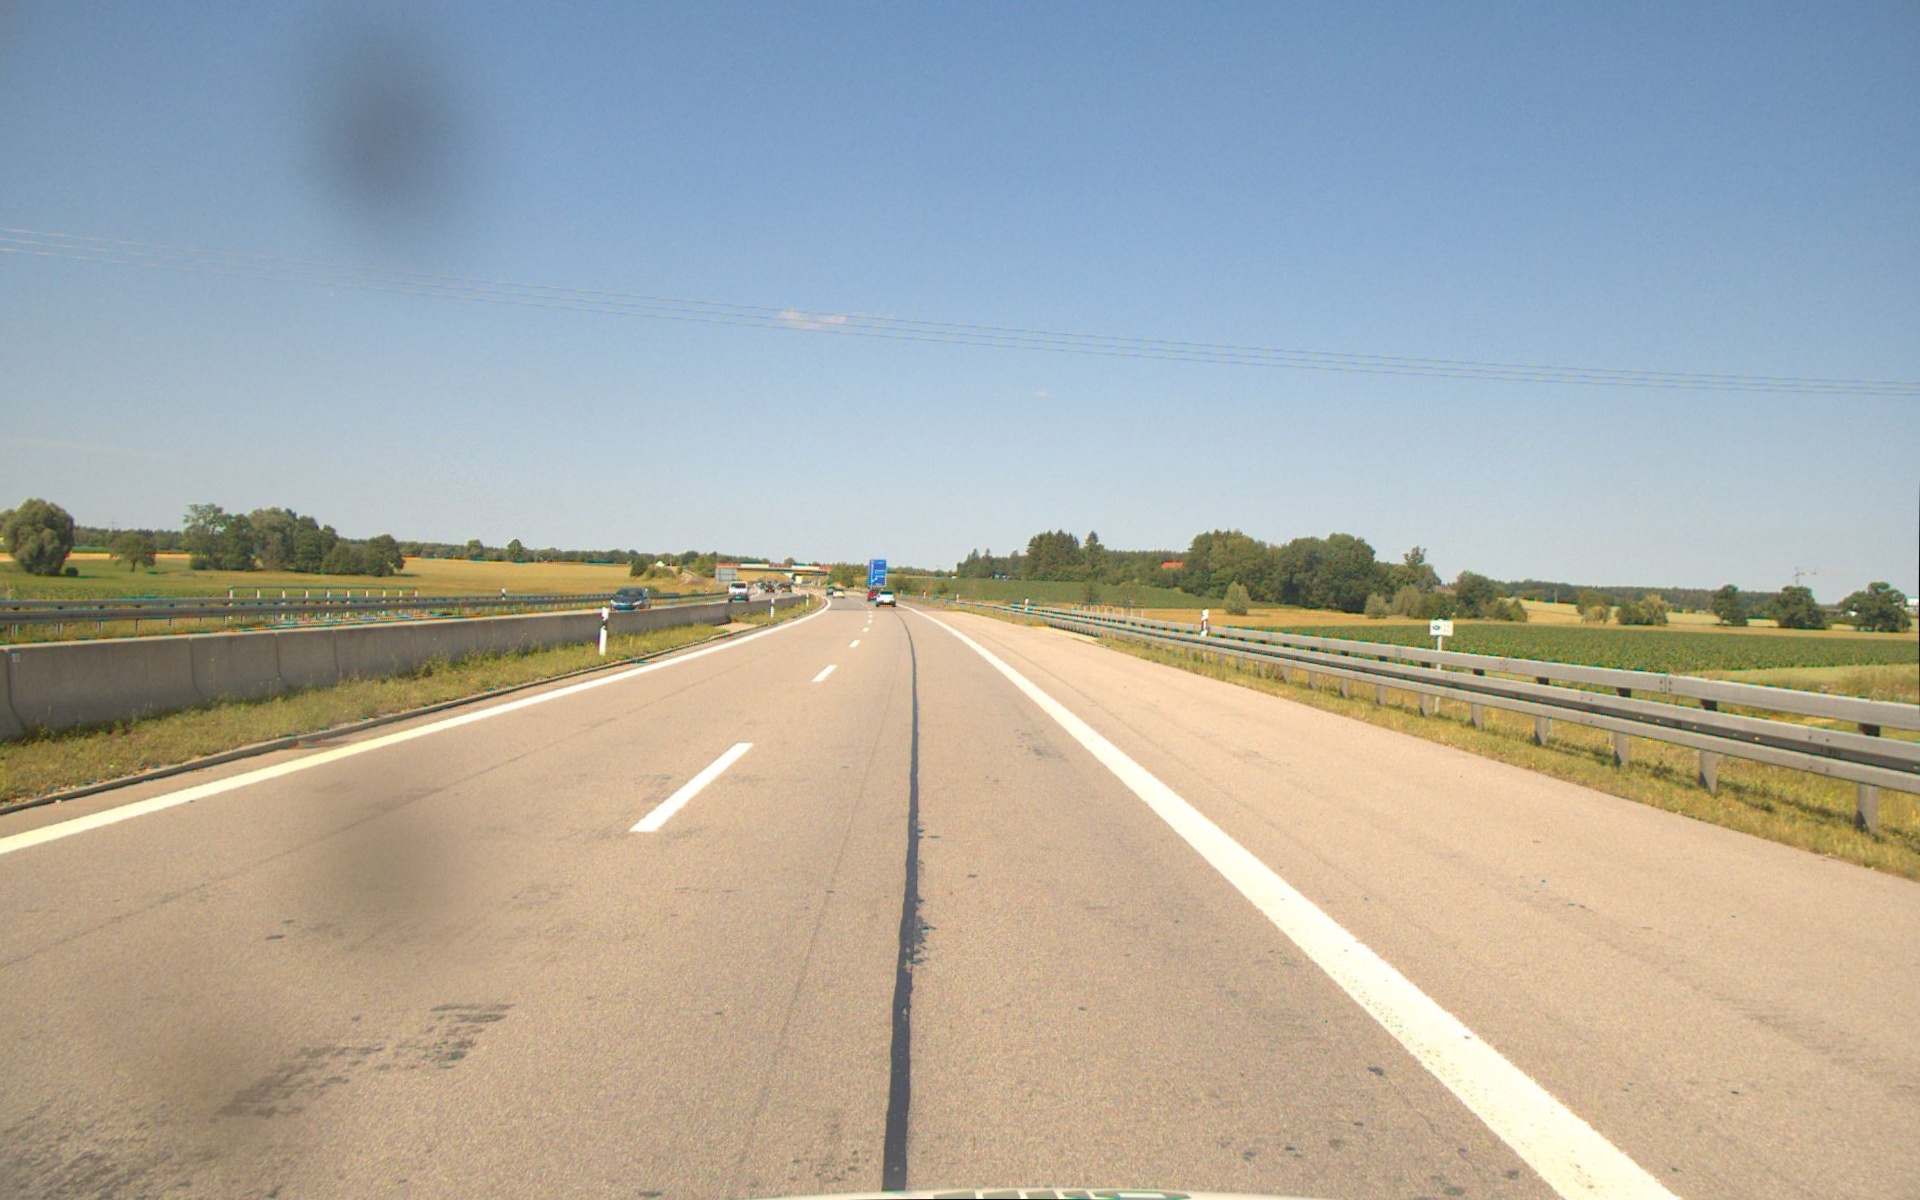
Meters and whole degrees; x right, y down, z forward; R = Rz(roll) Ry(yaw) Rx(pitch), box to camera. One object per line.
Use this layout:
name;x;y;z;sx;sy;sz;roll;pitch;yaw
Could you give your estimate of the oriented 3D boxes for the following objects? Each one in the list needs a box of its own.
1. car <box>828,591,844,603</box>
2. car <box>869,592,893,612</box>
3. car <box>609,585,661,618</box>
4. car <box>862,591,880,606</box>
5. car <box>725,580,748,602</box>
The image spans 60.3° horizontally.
car;-18.372;-0.478;244.871;1.956;1.761;4.861;2;0;-8
car;-7.388;0.183;154.304;1.954;1.761;4.864;2;0;-5
car;-16.558;0.045;84.539;1.822;1.540;4.584;3;0;-2
car;-11.022;-0.144;204.888;1.955;1.761;4.863;2;0;-6
car;-21.787;-0.868;161.217;1.955;2.049;5.607;1;0;-6
